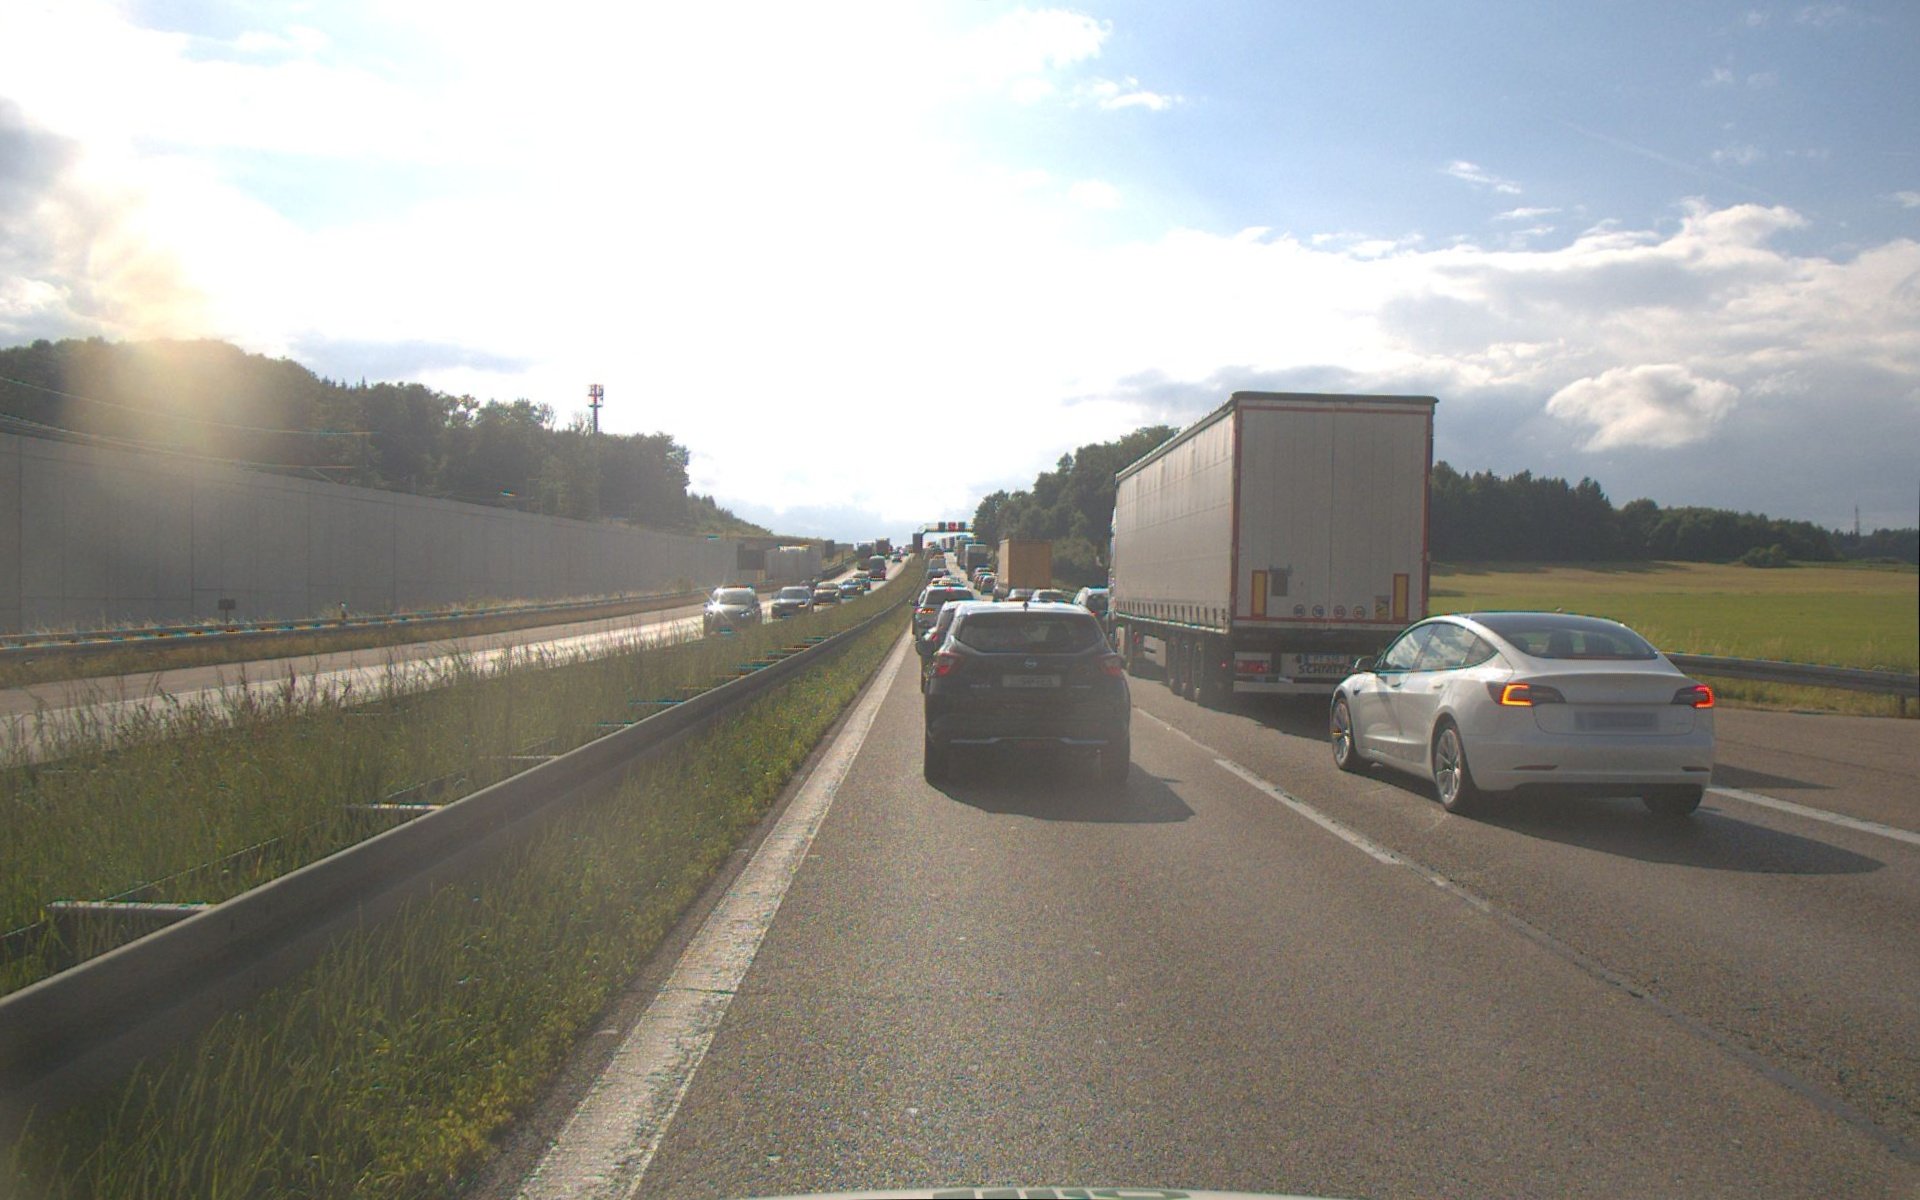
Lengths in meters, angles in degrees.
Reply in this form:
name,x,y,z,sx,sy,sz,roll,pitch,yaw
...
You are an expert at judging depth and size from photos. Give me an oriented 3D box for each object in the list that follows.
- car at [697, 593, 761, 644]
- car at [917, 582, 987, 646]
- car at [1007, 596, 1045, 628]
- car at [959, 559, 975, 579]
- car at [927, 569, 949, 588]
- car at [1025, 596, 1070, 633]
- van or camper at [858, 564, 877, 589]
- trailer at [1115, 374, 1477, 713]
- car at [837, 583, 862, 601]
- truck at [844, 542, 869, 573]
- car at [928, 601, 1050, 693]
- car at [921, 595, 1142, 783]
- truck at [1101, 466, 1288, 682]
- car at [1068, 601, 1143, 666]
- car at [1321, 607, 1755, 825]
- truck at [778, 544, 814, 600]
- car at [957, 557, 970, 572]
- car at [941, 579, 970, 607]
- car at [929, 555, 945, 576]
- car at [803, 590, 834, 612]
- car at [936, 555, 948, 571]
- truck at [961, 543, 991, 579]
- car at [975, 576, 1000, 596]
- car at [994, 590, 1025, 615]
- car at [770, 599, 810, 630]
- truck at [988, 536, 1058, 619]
name,x,y,z,sx,sy,sz,roll,pitch,yaw
car,-8.287,0.648,59.582,1.744,1.767,4.101,0,0,-1
car,-0.227,0.373,45.691,1.835,1.673,4.231,0,0,-1
car,3.451,0.611,87.201,1.835,1.673,4.231,0,0,-1
car,0.831,-3.782,200.130,1.835,2.196,5.211,0,3,-1
car,-1.964,-1.885,144.576,1.835,1.673,4.231,0,1,-2
car,4.066,0.672,77.380,1.835,1.673,4.231,0,0,-1
van or camper,-11.219,-2.788,201.855,2.047,2.869,5.894,1,-1,-1
trailer,4.723,-0.571,26.824,3.066,4.081,13.364,1,-1,0
car,-8.801,-0.636,131.865,1.706,1.381,4.231,0,0,-1
truck,-16.020,-6.501,256.885,3.230,4.657,12.438,0,0,-1
car,0.411,0.706,26.858,1.835,1.381,4.231,0,0,-1
car,0.544,0.707,15.145,1.737,1.476,4.231,0,0,-1
truck,4.700,-0.465,34.183,3.069,4.086,5.162,1,-1,0
car,3.836,0.861,44.174,1.663,1.639,4.436,0,0,0
car,4.353,0.786,13.260,1.753,1.418,4.434,0,0,-3
truck,-12.834,-2.142,129.689,2.332,4.254,5.931,0,0,-1
car,0.525,-5.452,254.889,1.835,2.196,5.211,0,3,-1
car,-0.315,-0.466,105.186,1.835,1.673,4.232,0,1,-1
car,-2.664,-3.934,188.659,1.835,2.196,5.211,0,3,-1
car,-9.561,0.073,112.016,1.733,1.505,3.828,0,0,0
car,-2.756,-5.660,251.675,1.835,2.196,5.211,0,3,-1
truck,2.092,-5.305,225.463,3.394,4.657,12.437,1,1,-2
car,2.354,-1.203,142.931,1.836,1.673,4.229,0,1,-4
car,3.316,0.150,111.710,1.836,1.673,4.230,0,0,-3
car,-8.553,0.711,83.317,1.663,1.525,4.425,0,0,-1
truck,3.706,-1.239,100.499,3.230,4.657,12.434,1,-1,-2
